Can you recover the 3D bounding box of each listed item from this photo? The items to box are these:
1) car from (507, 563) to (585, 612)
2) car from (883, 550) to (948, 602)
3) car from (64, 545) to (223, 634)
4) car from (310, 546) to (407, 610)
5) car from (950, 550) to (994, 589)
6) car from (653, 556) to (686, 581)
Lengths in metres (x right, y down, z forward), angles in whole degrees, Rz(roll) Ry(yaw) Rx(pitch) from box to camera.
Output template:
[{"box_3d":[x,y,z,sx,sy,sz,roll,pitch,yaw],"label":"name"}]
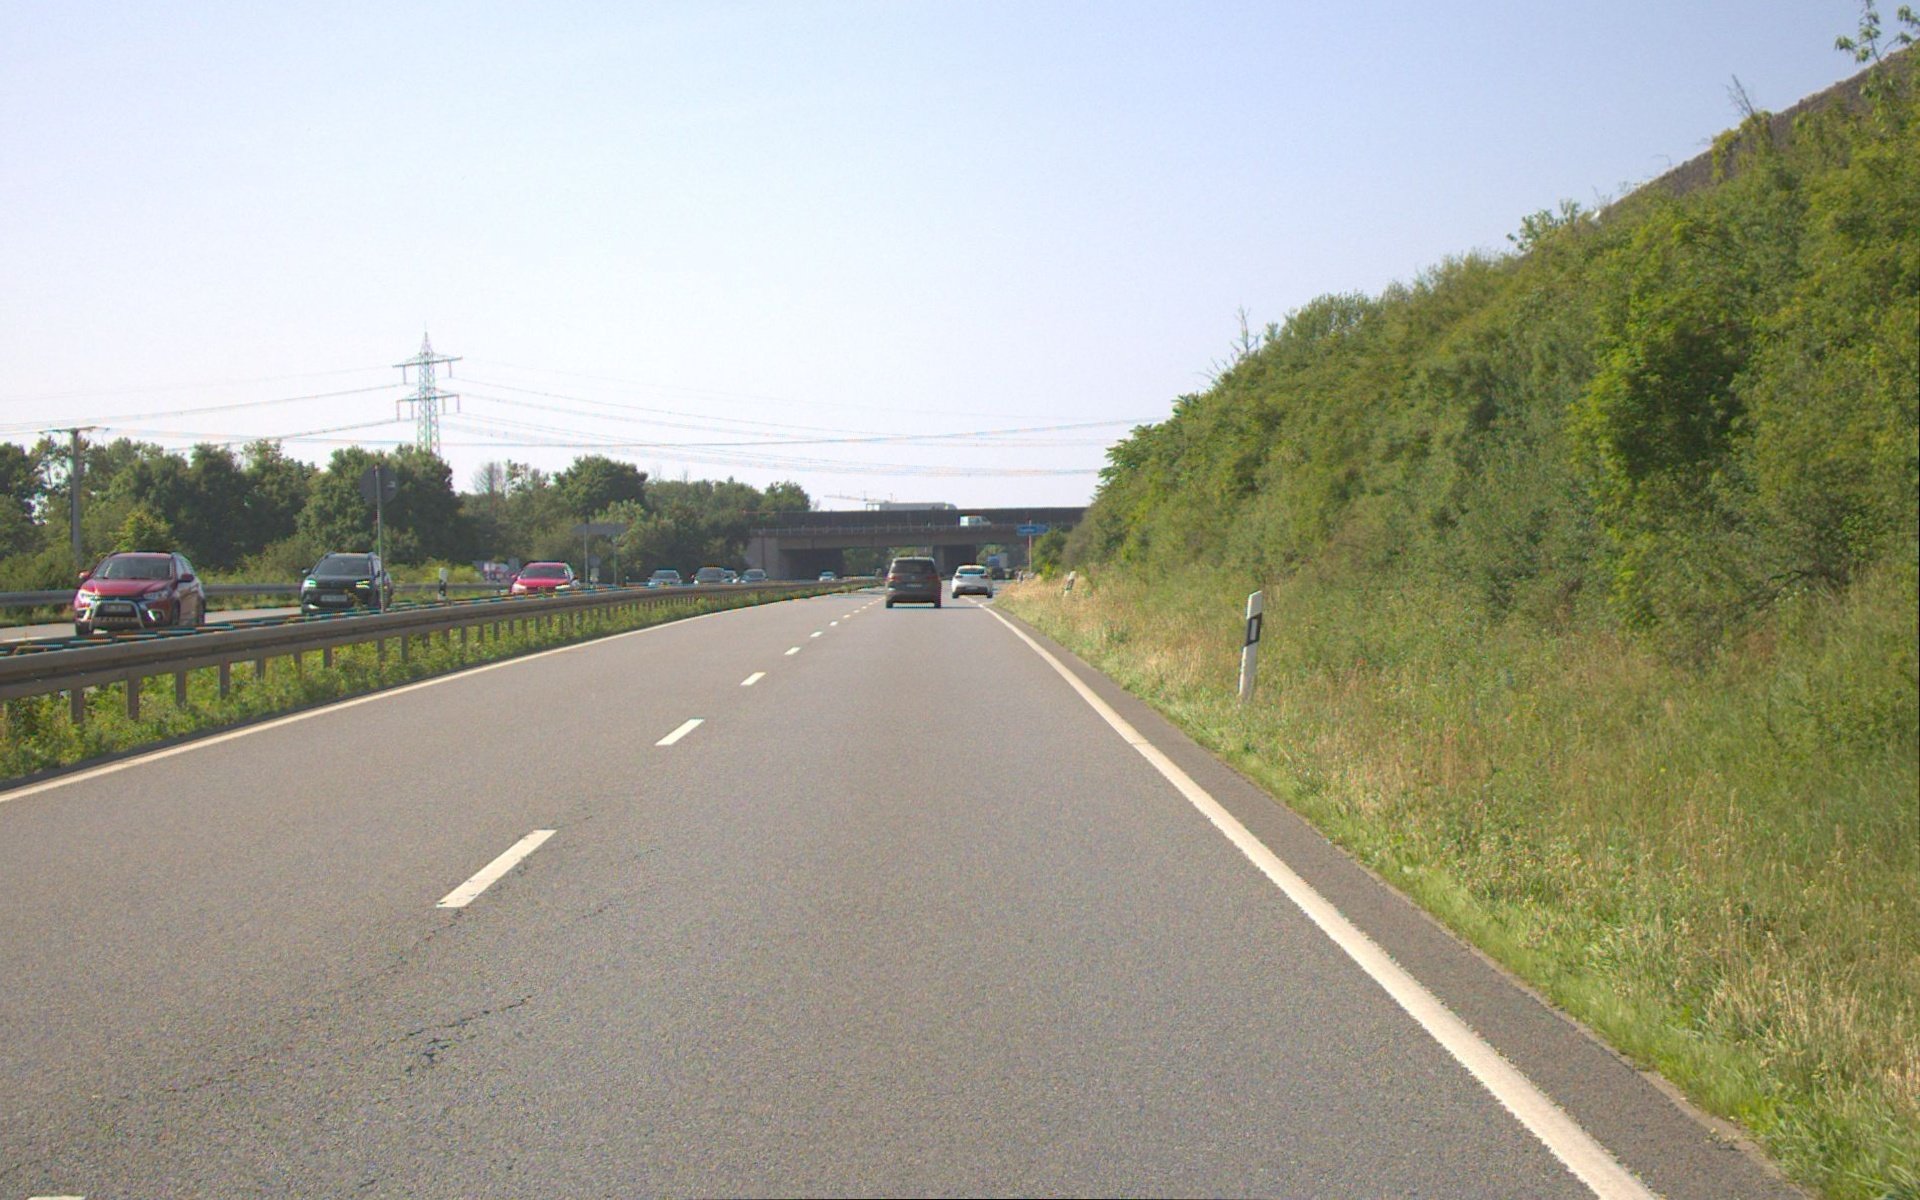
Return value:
[{"box_3d":[-12.882,-0.417,107.205,1.876,1.488,5.095,0,1,0],"label":"car"},{"box_3d":[-1.414,-0.776,110.328,1.850,1.639,4.000,-1,0,2],"label":"car"},{"box_3d":[-15.254,-0.222,64.447,1.843,1.587,4.774,1,1,0],"label":"car"},{"box_3d":[-15.119,-0.569,86.539,1.726,1.590,4.221,0,1,0],"label":"car"},{"box_3d":[0.562,-1.371,153.471,1.796,1.659,4.000,1,1,2],"label":"car"},{"box_3d":[-16.963,-1.848,200.737,1.713,1.445,4.324,-1,1,-2],"label":"car"}]
